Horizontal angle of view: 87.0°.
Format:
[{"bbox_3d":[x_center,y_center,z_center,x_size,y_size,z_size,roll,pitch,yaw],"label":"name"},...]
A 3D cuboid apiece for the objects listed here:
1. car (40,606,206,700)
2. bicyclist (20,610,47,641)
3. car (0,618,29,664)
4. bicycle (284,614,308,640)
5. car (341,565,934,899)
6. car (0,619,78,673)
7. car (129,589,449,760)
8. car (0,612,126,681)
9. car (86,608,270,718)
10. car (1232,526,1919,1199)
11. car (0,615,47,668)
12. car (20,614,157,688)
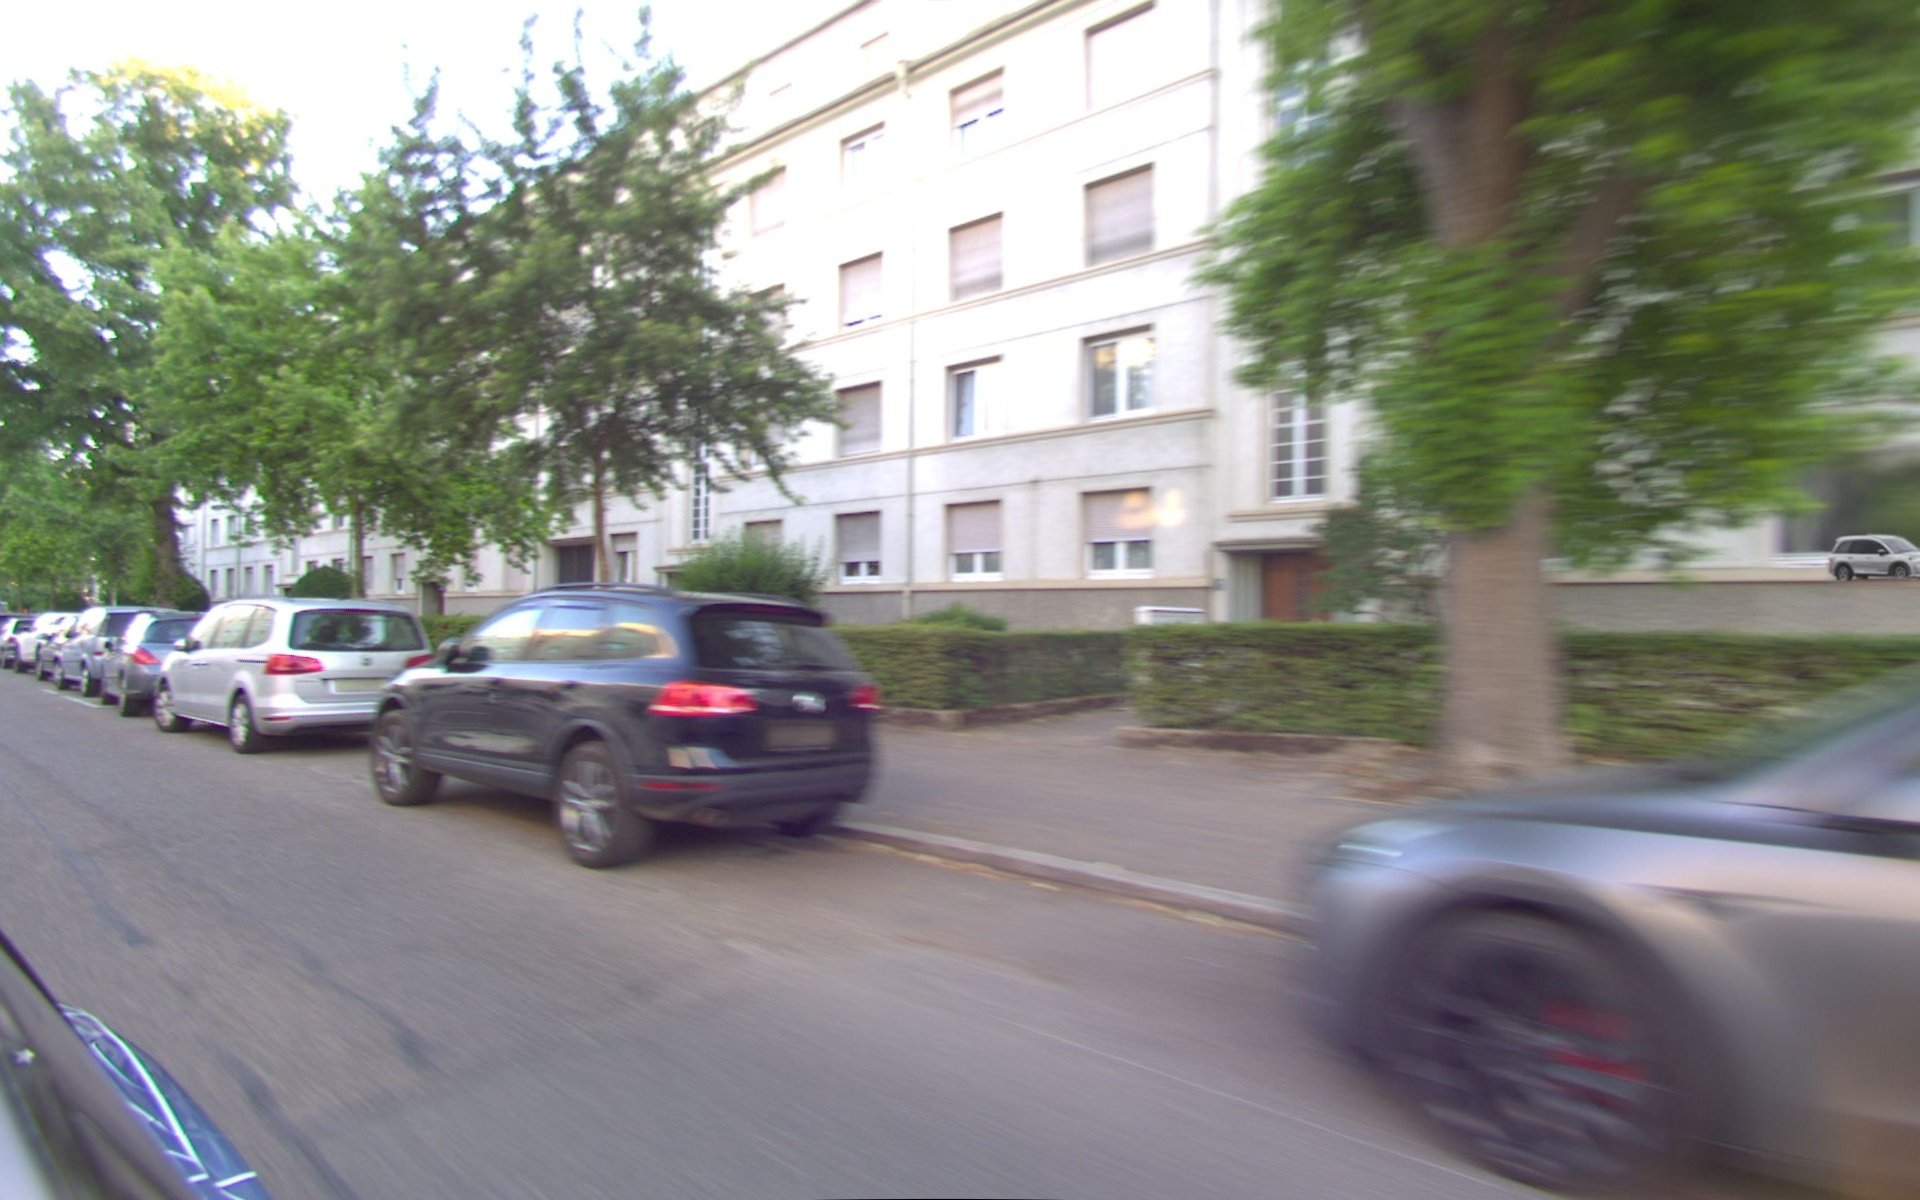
[{"bbox_3d":[-16.036,0.978,19.328,4.114,1.613,1.689,-1,-5,41],"label":"car"},{"bbox_3d":[-42.759,1.166,46.701,0.973,1.414,0.800,-1,-1,40],"label":"bicyclist"},{"bbox_3d":[-33.040,1.333,34.258,4.098,1.477,1.574,0,-5,39],"label":"car"},{"bbox_3d":[-32.123,1.311,48.955,1.817,1.240,0.550,-1,-1,44],"label":"bicycle"},{"bbox_3d":[-2.630,0.751,7.555,4.767,1.732,1.934,-1,-4,40],"label":"car"},{"bbox_3d":[-26.604,1.273,28.836,4.179,1.414,1.573,-1,-5,41],"label":"car"},{"bbox_3d":[-8.310,0.810,12.349,4.854,1.704,1.828,0,-3,39],"label":"car"},{"bbox_3d":[-22.490,1.141,25.332,4.201,1.550,1.574,0,-4,39],"label":"car"},{"bbox_3d":[-12.445,0.935,16.002,1.713,1.508,4.272,4,-4,-45],"label":"car"},{"bbox_3d":[3.233,0.700,2.441,4.602,1.629,1.933,-1,-4,40],"label":"car"},{"bbox_3d":[-29.796,1.252,31.482,3.161,1.541,1.508,0,-5,39],"label":"car"},{"bbox_3d":[-19.277,1.105,22.331,3.841,1.463,1.689,-1,-5,41],"label":"car"}]
